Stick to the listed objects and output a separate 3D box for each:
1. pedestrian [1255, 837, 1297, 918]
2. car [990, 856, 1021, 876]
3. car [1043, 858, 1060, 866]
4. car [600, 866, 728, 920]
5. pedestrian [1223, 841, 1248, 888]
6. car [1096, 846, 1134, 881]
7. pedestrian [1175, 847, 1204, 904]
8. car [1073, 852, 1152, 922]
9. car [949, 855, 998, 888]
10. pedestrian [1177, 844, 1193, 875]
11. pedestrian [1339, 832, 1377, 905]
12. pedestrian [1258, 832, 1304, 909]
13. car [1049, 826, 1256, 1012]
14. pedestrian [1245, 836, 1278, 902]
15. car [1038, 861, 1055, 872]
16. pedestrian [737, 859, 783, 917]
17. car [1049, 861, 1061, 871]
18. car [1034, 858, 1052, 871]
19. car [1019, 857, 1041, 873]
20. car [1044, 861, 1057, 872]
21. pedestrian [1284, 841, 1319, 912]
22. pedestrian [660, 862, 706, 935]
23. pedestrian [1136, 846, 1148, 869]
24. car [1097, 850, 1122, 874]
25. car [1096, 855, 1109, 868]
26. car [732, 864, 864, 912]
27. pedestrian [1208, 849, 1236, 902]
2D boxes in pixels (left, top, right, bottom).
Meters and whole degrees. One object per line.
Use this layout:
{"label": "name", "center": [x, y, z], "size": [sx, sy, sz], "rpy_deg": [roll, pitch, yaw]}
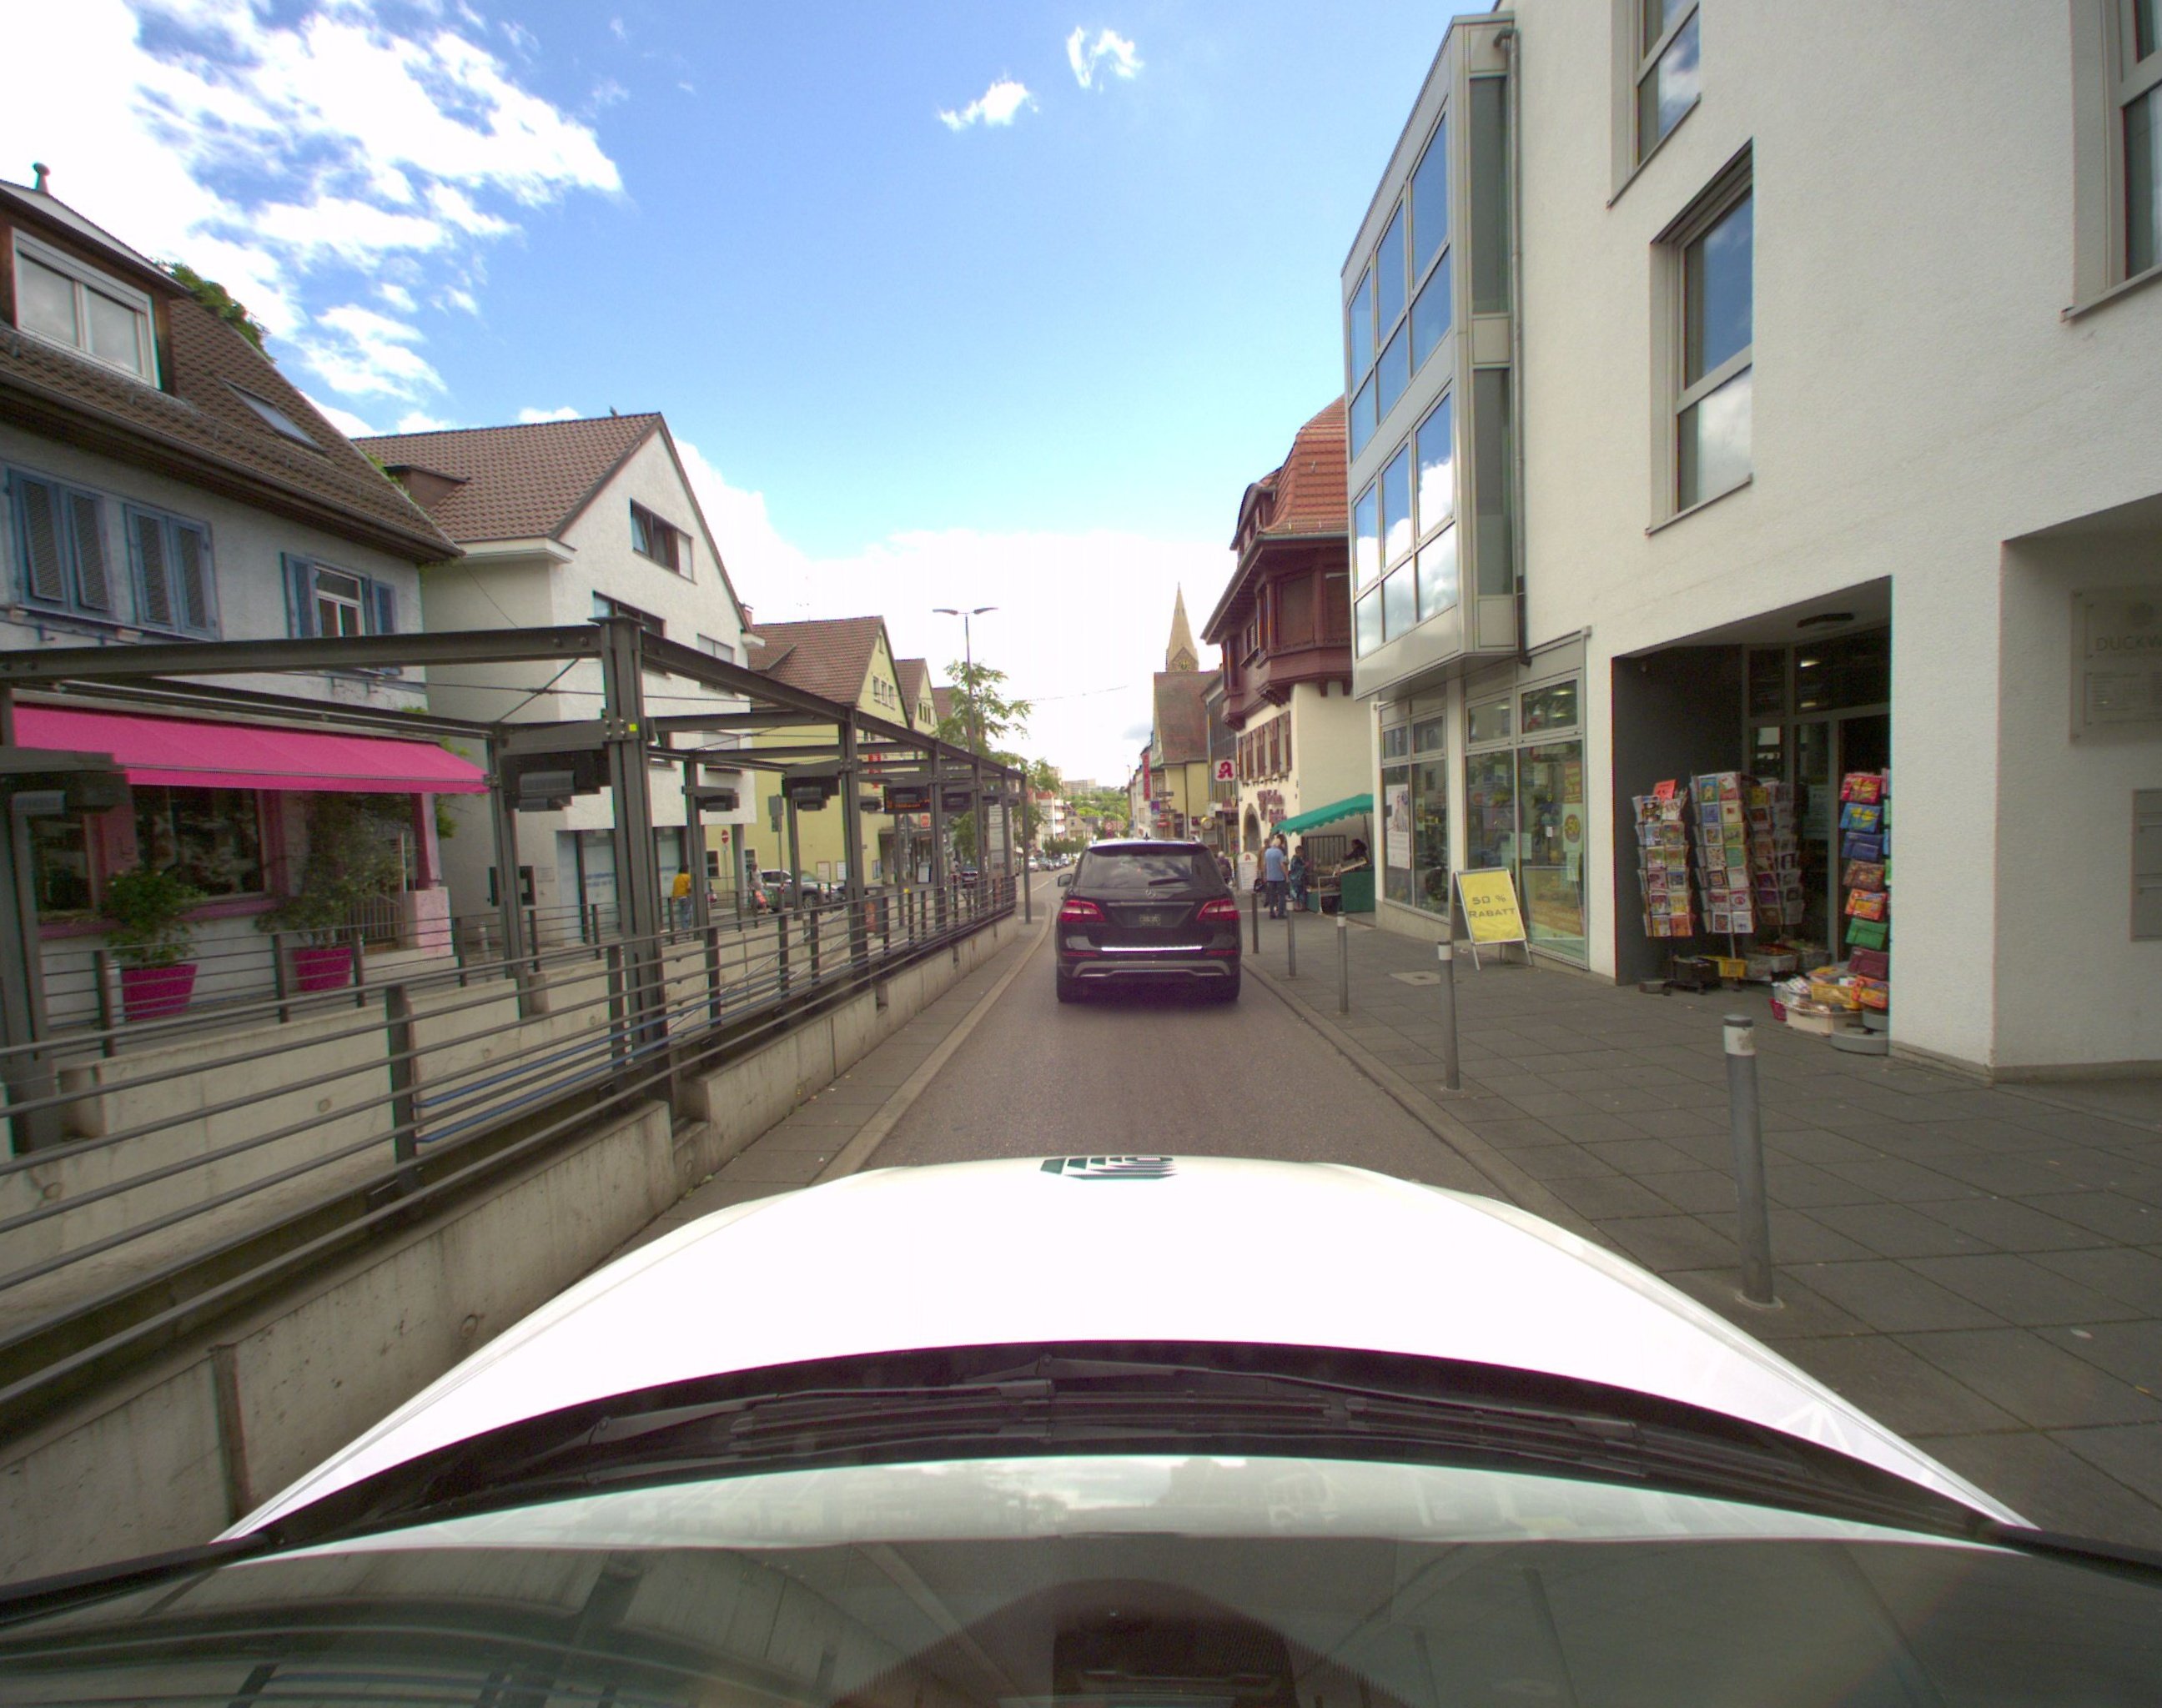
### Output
{"label": "pedestrian", "center": [4.327, 0.513, 18.070], "size": [0.694, 1.767, 0.629], "rpy_deg": [-3, 0, 27]}
{"label": "car", "center": [-5.773, 0.880, 62.567], "size": [1.920, 1.492, 4.842], "rpy_deg": [0, 0, 0]}
{"label": "car", "center": [-7.159, 1.966, 199.029], "size": [3.978, 1.750, 1.998], "rpy_deg": [-4, -1, -3]}
{"label": "car", "center": [-17.909, 1.659, 35.069], "size": [4.318, 1.805, 2.004], "rpy_deg": [-5, 3, 5]}
{"label": "pedestrian", "center": [5.984, 0.398, 31.540], "size": [0.771, 1.769, 0.818], "rpy_deg": [-2, 0, 2]}
{"label": "car", "center": [1.985, 0.511, 46.053], "size": [1.868, 1.799, 4.738], "rpy_deg": [-2, 0, 5]}
{"label": "pedestrian", "center": [3.221, 0.634, 24.216], "size": [0.768, 1.645, 0.872], "rpy_deg": [-2, 0, 7]}
{"label": "car", "center": [0.714, 0.767, 20.918], "size": [1.780, 1.540, 3.743], "rpy_deg": [-3, 0, -1]}
{"label": "car", "center": [-5.883, 0.923, 45.204], "size": [2.000, 1.693, 4.608], "rpy_deg": [-1, 1, 1]}
{"label": "pedestrian", "center": [5.965, 0.309, 46.812], "size": [0.859, 1.707, 0.947], "rpy_deg": [-3, 0, 7]}
{"label": "pedestrian", "center": [6.337, 0.317, 18.632], "size": [0.620, 1.612, 0.704], "rpy_deg": [-2, 0, 6]}
{"label": "pedestrian", "center": [4.936, 0.401, 20.131], "size": [0.771, 1.857, 0.707], "rpy_deg": [-3, 0, 44]}
{"label": "car", "center": [0.740, 0.618, 9.809], "size": [1.936, 1.740, 4.180], "rpy_deg": [-1, 0, 2]}
{"label": "pedestrian", "center": [5.102, 0.427, 23.104], "size": [0.782, 1.801, 0.677], "rpy_deg": [-2, 0, 7]}
{"label": "car", "center": [-4.589, 1.687, 110.309], "size": [1.919, 1.430, 4.264], "rpy_deg": [-2, -1, 2]}
{"label": "pedestrian", "center": [-10.421, 1.096, 26.463], "size": [0.909, 1.787, 0.992], "rpy_deg": [-3, 0, 17]}
{"label": "car", "center": [-4.255, 1.871, 131.239], "size": [1.921, 1.595, 4.454], "rpy_deg": [0, 0, -2]}
{"label": "car", "center": [-4.778, 1.299, 102.543], "size": [1.920, 1.621, 4.638], "rpy_deg": [-1, -1, 0]}
{"label": "car", "center": [-5.313, 1.130, 85.282], "size": [1.920, 1.511, 4.261], "rpy_deg": [0, 0, 0]}
{"label": "car", "center": [-4.552, 1.867, 123.851], "size": [1.921, 1.496, 4.259], "rpy_deg": [0, 0, -2]}
{"label": "pedestrian", "center": [5.134, 0.520, 18.999], "size": [0.620, 1.612, 0.704], "rpy_deg": [-2, 0, 6]}
{"label": "pedestrian", "center": [-10.022, 1.103, 20.537], "size": [0.634, 1.738, 0.835], "rpy_deg": [-4, 0, -1]}
{"label": "pedestrian", "center": [4.801, 0.270, 64.347], "size": [0.793, 1.727, 1.053], "rpy_deg": [-3, 0, 1]}
{"label": "car", "center": [2.161, 0.579, 61.784], "size": [1.741, 1.607, 3.802], "rpy_deg": [-4, 0, 2]}
{"label": "car", "center": [3.443, 1.235, 129.875], "size": [1.931, 1.891, 4.707], "rpy_deg": [-4, 0, 1]}
{"label": "car", "center": [-10.586, 1.299, 30.501], "size": [4.303, 1.622, 1.979], "rpy_deg": [-1, -7, 22]}
{"label": "pedestrian", "center": [4.164, 0.629, 24.101], "size": [0.720, 1.531, 0.809], "rpy_deg": [-3, 0, 7]}
